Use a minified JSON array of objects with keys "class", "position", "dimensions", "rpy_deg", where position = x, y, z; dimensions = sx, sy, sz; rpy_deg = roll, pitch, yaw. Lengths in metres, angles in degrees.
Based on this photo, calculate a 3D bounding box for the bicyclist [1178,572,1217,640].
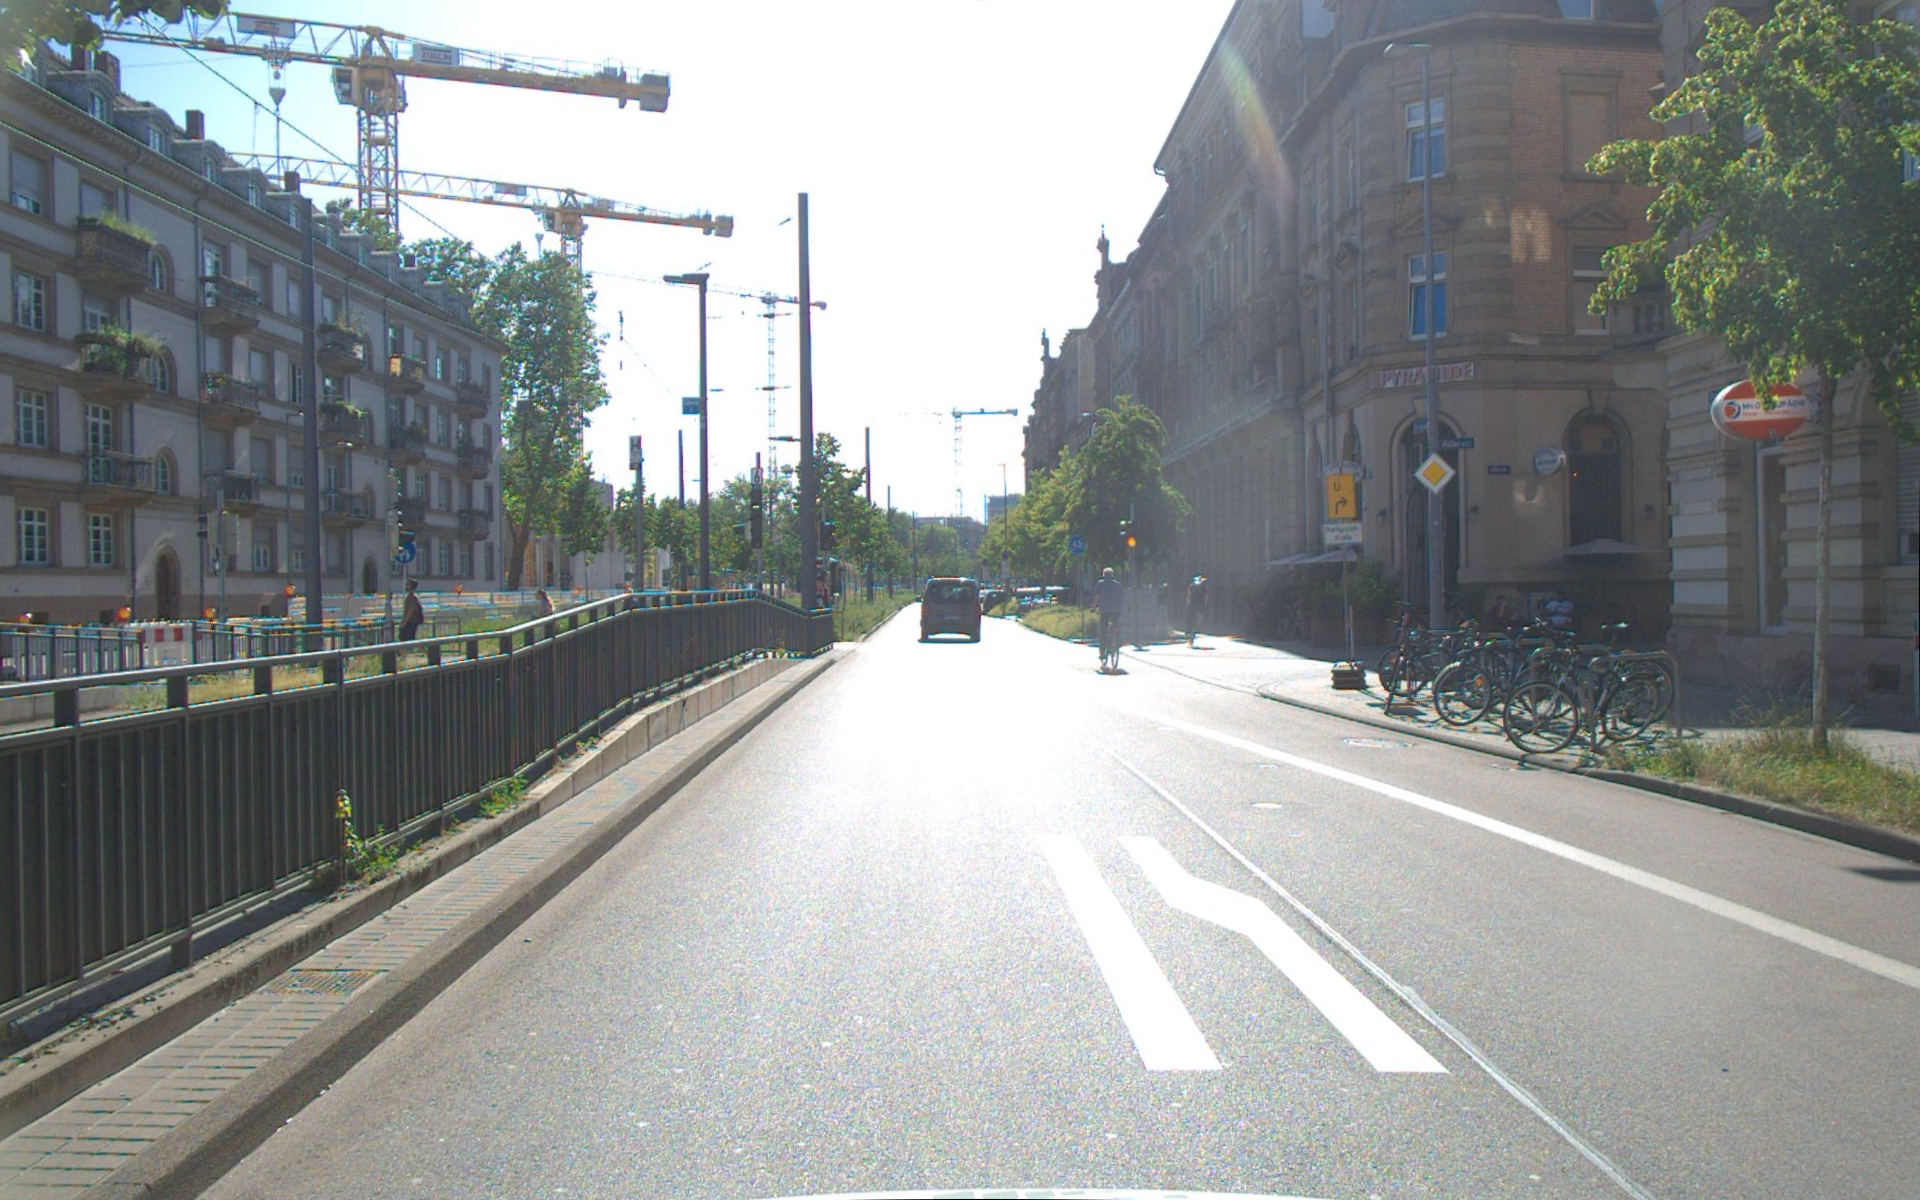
[{"class":"bicyclist","position":[5.731,0.144,40.015],"dimensions":[0.648,1.556,0.800],"rpy_deg":[-5,0,-5]}]

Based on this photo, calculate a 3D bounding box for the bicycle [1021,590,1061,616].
[{"class":"bicycle","position":[3.786,0.134,77.407],"dimensions":[1.757,1.048,0.527],"rpy_deg":[-5,0,-2]}]

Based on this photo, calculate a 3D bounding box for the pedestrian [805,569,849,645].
[{"class":"pedestrian","position":[-3.436,0.178,42.653],"dimensions":[1.055,1.942,0.652],"rpy_deg":[-1,0,-8]}]

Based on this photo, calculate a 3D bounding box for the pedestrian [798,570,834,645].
[{"class":"pedestrian","position":[-3.545,0.178,40.612],"dimensions":[0.848,1.819,0.969],"rpy_deg":[0,0,-8]}]

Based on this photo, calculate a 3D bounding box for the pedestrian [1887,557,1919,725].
[{"class":"pedestrian","position":[9.282,0.377,15.443],"dimensions":[0.695,1.569,0.927],"rpy_deg":[-1,0,-2]}]

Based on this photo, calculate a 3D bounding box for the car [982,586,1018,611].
[{"class":"car","position":[2.471,-0.102,103.820],"dimensions":[1.987,1.525,4.652],"rpy_deg":[-1,0,-2]}]

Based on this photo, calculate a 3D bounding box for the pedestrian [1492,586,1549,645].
[{"class":"pedestrian","position":[12.003,0.322,35.462],"dimensions":[0.833,1.235,0.932],"rpy_deg":[0,0,-8]}]

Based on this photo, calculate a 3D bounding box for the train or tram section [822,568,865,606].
[{"class":"train or tram section","position":[-8.818,-0.932,126.150],"dimensions":[2.700,2.791,9.862],"rpy_deg":[0,0,-1]}]

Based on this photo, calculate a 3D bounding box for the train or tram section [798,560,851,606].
[{"class":"train or tram section","position":[-8.646,-1.017,106.438],"dimensions":[2.700,2.791,9.862],"rpy_deg":[0,0,-1]}]

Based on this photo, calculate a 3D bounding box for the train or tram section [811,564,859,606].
[{"class":"train or tram section","position":[-8.721,-0.974,116.284],"dimensions":[2.700,2.791,9.862],"rpy_deg":[0,0,-1]}]

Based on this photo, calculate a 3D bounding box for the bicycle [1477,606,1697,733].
[{"class":"bicycle","position":[6.451,0.705,17.085],"dimensions":[1.954,1.148,0.710],"rpy_deg":[-3,1,0]}]

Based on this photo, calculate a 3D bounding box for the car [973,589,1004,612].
[{"class":"car","position":[1.985,0.003,116.092],"dimensions":[1.987,1.525,4.529],"rpy_deg":[-1,0,-2]}]

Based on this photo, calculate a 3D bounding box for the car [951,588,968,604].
[{"class":"car","position":[-0.019,-0.480,201.246],"dimensions":[1.953,1.870,3.999],"rpy_deg":[0,0,-1]}]

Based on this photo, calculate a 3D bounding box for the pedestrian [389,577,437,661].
[{"class":"pedestrian","position":[-11.991,0.408,36.261],"dimensions":[0.855,1.812,0.900],"rpy_deg":[0,0,-29]}]

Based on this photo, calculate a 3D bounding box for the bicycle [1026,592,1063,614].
[{"class":"bicycle","position":[4.039,0.153,79.067],"dimensions":[1.756,1.048,0.527],"rpy_deg":[0,0,-2]}]

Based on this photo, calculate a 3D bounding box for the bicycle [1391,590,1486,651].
[{"class":"bicycle","position":[9.947,0.428,34.410],"dimensions":[1.779,1.191,0.654],"rpy_deg":[-1,4,2]}]

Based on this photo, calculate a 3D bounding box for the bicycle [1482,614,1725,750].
[{"class":"bicycle","position":[6.094,0.756,15.703],"dimensions":[1.960,1.111,0.845],"rpy_deg":[-4,1,-11]}]

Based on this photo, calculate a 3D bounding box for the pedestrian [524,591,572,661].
[{"class":"pedestrian","position":[-9.246,0.579,37.155],"dimensions":[0.847,1.563,0.909],"rpy_deg":[0,0,-1]}]

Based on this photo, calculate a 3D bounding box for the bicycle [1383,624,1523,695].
[{"class":"bicycle","position":[6.372,0.769,21.429],"dimensions":[1.635,0.835,0.607],"rpy_deg":[-2,1,5]}]

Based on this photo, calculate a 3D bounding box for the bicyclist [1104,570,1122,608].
[{"class":"bicyclist","position":[6.901,-0.508,74.544],"dimensions":[0.653,1.668,0.960],"rpy_deg":[-1,0,-2]}]

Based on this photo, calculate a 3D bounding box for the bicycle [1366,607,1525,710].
[{"class":"bicycle","position":[5.837,0.696,19.935],"dimensions":[1.688,1.119,0.607],"rpy_deg":[-3,1,2]}]

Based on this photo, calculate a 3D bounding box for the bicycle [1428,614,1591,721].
[{"class":"bicycle","position":[6.092,0.740,18.387],"dimensions":[1.567,1.063,0.607],"rpy_deg":[-3,1,2]}]

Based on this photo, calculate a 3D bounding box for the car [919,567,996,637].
[{"class":"car","position":[-0.118,0.055,49.547],"dimensions":[2.156,1.960,4.652],"rpy_deg":[-1,0,-2]}]

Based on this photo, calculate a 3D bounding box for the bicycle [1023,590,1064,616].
[{"class":"bicycle","position":[3.822,0.128,76.034],"dimensions":[1.757,1.048,0.527],"rpy_deg":[-5,0,-2]}]

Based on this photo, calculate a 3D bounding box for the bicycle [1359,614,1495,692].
[{"class":"bicycle","position":[6.220,0.702,22.090],"dimensions":[1.635,0.960,0.607],"rpy_deg":[-2,1,6]}]

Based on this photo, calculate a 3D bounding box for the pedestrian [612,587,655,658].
[{"class":"pedestrian","position":[-7.259,0.487,36.785],"dimensions":[0.796,1.563,0.798],"rpy_deg":[0,0,0]}]

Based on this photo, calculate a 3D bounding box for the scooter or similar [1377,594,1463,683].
[{"class":"scooter or similar","position":[6.528,0.545,23.508],"dimensions":[1.087,1.210,0.419],"rpy_deg":[-2,1,6]}]

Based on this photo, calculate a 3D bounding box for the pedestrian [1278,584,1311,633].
[{"class":"pedestrian","position":[8.811,0.228,43.554],"dimensions":[0.692,1.258,0.635],"rpy_deg":[-3,0,-2]}]

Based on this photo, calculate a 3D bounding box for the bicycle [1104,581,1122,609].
[{"class":"bicycle","position":[6.914,-0.249,74.642],"dimensions":[0.571,1.244,1.899],"rpy_deg":[-1,1,-1]}]

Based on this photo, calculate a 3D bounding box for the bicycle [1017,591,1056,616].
[{"class":"bicycle","position":[3.726,0.146,80.500],"dimensions":[1.757,1.048,0.527],"rpy_deg":[-5,0,-2]}]

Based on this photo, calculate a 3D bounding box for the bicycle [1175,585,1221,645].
[{"class":"bicycle","position":[5.744,0.354,40.039],"dimensions":[0.603,1.353,1.898],"rpy_deg":[-5,1,-5]}]

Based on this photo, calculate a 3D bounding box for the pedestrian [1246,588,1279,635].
[{"class":"pedestrian","position":[7.954,0.308,43.523],"dimensions":[0.692,1.198,0.635],"rpy_deg":[-3,0,-2]}]

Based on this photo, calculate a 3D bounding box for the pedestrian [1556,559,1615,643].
[{"class":"pedestrian","position":[13.531,0.013,35.771],"dimensions":[0.889,1.791,0.866],"rpy_deg":[0,0,-8]}]

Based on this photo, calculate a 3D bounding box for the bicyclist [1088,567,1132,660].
[{"class":"bicyclist","position":[2.810,0.250,31.051],"dimensions":[0.670,1.702,0.922],"rpy_deg":[1,0,-2]}]

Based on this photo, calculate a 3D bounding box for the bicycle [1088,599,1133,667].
[{"class":"bicycle","position":[2.800,0.594,30.866],"dimensions":[0.589,1.201,1.868],"rpy_deg":[1,0,-2]}]
